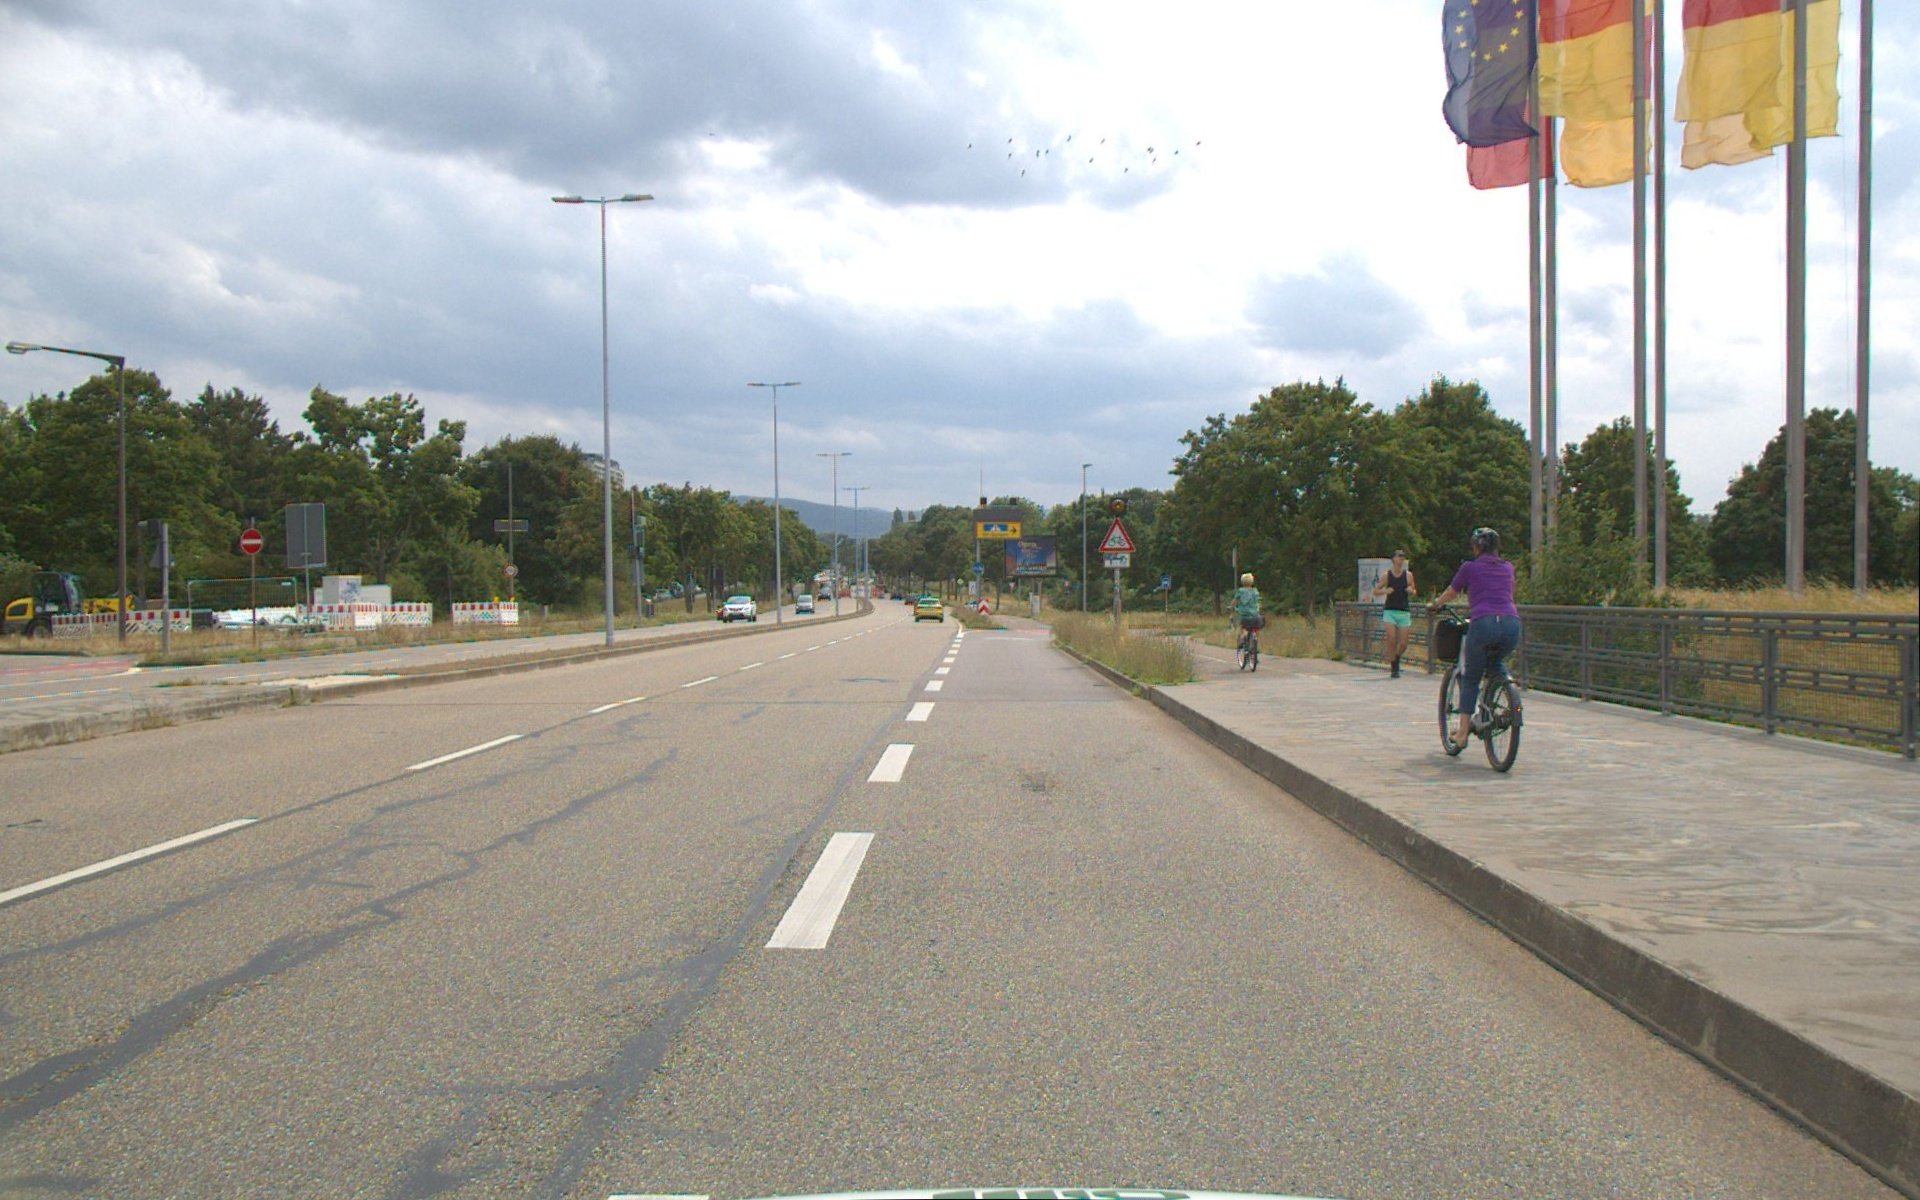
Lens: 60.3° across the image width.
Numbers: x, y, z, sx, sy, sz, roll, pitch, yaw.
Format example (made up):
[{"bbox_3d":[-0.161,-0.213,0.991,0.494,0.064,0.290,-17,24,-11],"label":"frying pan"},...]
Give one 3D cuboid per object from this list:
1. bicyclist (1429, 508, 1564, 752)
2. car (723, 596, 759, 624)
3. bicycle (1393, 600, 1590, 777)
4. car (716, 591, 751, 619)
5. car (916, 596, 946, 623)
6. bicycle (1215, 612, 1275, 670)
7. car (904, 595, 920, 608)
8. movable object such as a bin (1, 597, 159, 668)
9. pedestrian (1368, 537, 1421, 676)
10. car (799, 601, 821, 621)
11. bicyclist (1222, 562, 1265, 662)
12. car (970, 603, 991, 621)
[{"bbox_3d":[4.075,0.214,12.630,0.689,1.786,0.991,0,0,-2],"label":"bicyclist"},{"bbox_3d":[-13.754,0.604,104.046,1.659,1.657,4.384,0,1,0],"label":"car"},{"bbox_3d":[4.072,0.624,12.900,0.679,1.213,2.460,-1,0,-1],"label":"bicycle"},{"bbox_3d":[-17.010,0.405,124.527,1.953,1.914,4.000,4,-1,0],"label":"car"},{"bbox_3d":[-1.787,0.561,102.427,1.757,1.589,3.998,0,1,-2],"label":"car"},{"bbox_3d":[4.896,0.687,28.517,0.610,0.904,2.154,0,1,-2],"label":"bicycle"},{"bbox_3d":[-6.582,0.249,225.086,2.161,1.713,3.999,0,1,-2],"label":"car"},{"bbox_3d":[-31.100,1.115,58.579,4.496,2.439,1.995,0,1,-11],"label":"movable object such as a bin"},{"bbox_3d":[6.503,0.087,24.795,0.614,2.049,0.668,0,1,0],"label":"pedestrian"},{"bbox_3d":[-14.955,1.100,164.811,1.864,1.841,4.539,0,1,-1],"label":"car"},{"bbox_3d":[4.881,0.204,28.500,0.609,1.695,0.669,0,1,-2],"label":"bicyclist"},{"bbox_3d":[2.047,1.192,166.342,1.973,1.699,3.998,0,1,-2],"label":"car"}]
